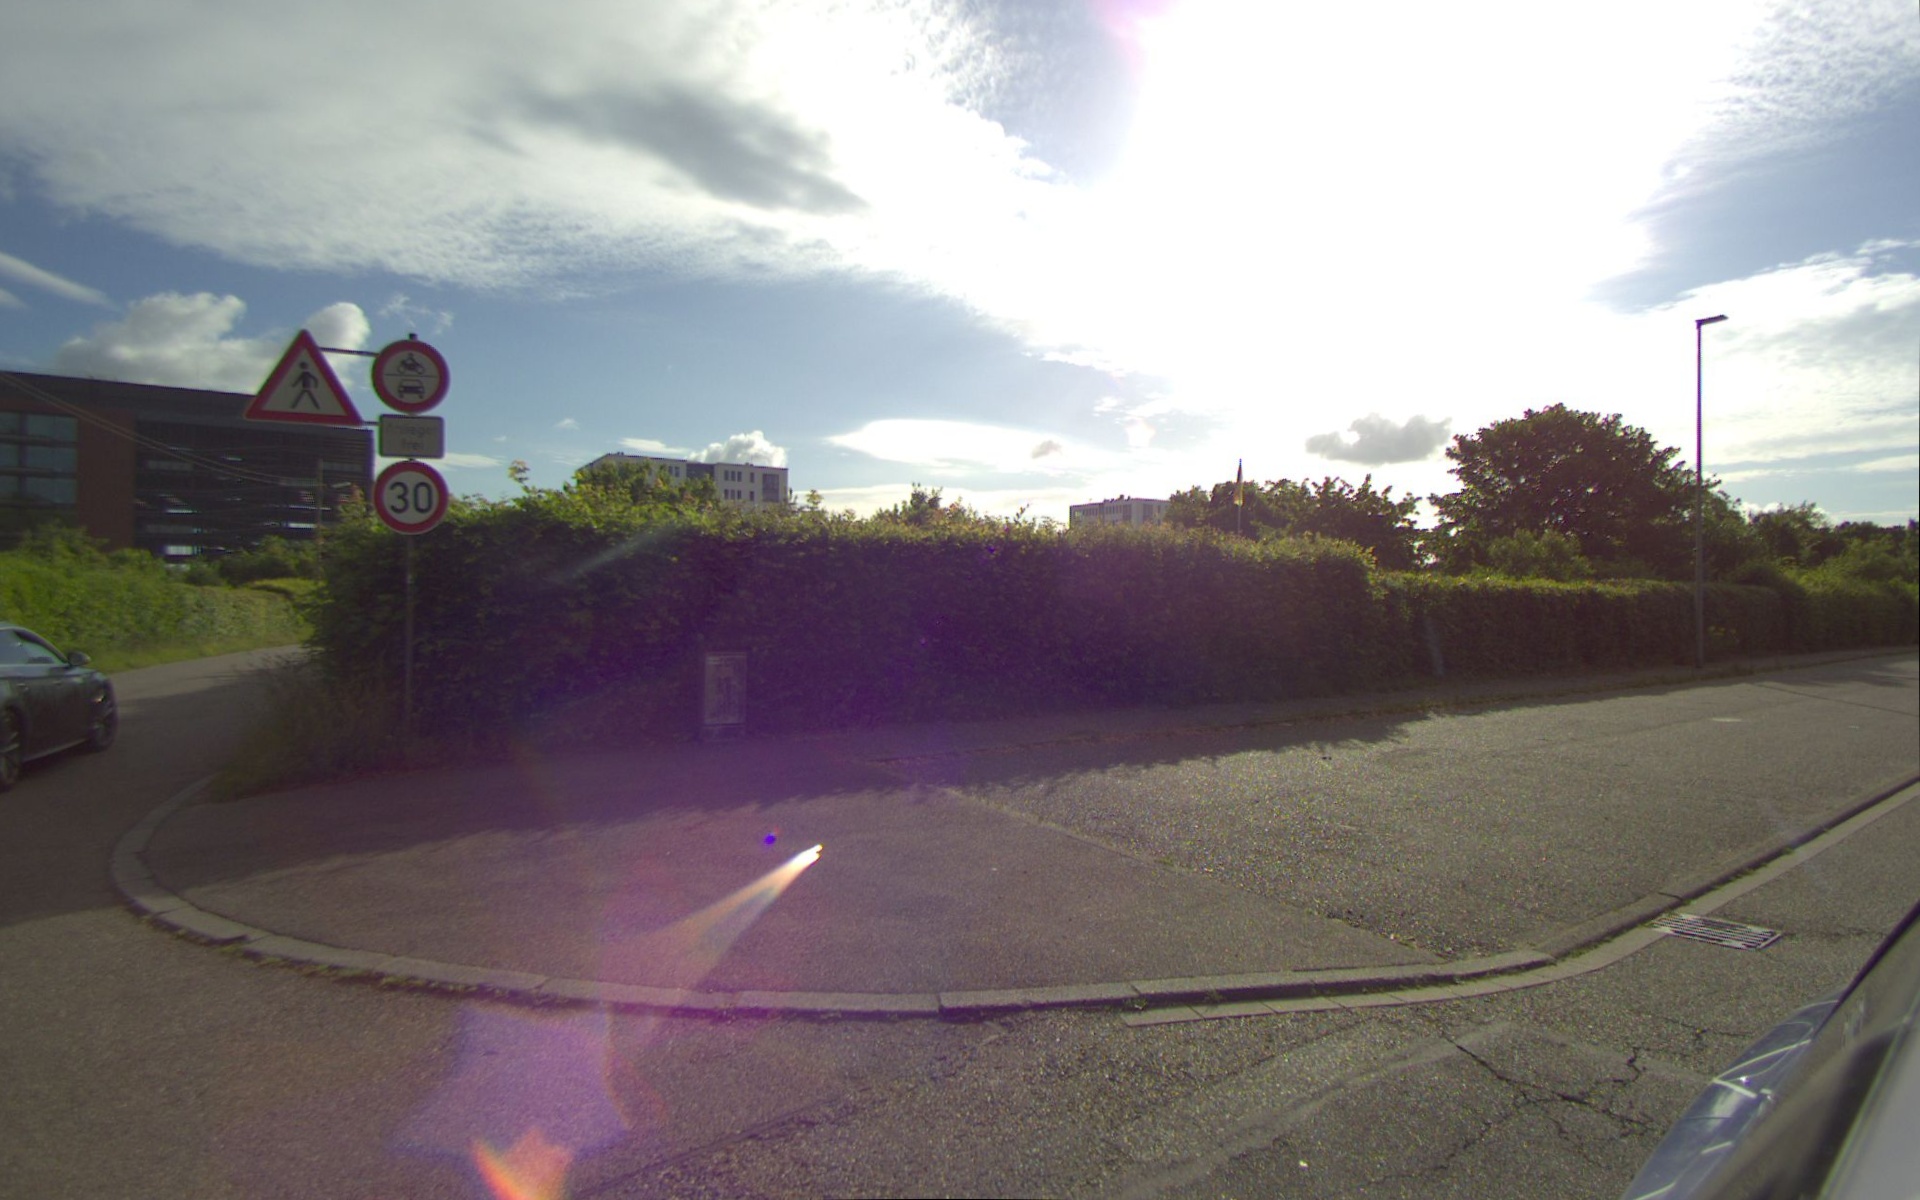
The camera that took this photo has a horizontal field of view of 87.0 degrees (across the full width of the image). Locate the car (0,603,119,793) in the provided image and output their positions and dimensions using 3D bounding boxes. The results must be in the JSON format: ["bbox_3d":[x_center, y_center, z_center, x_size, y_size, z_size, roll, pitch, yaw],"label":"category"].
[{"bbox_3d":[-8.994,0.780,8.710,1.933,1.453,4.340,0,-1,-29],"label":"car"}]
